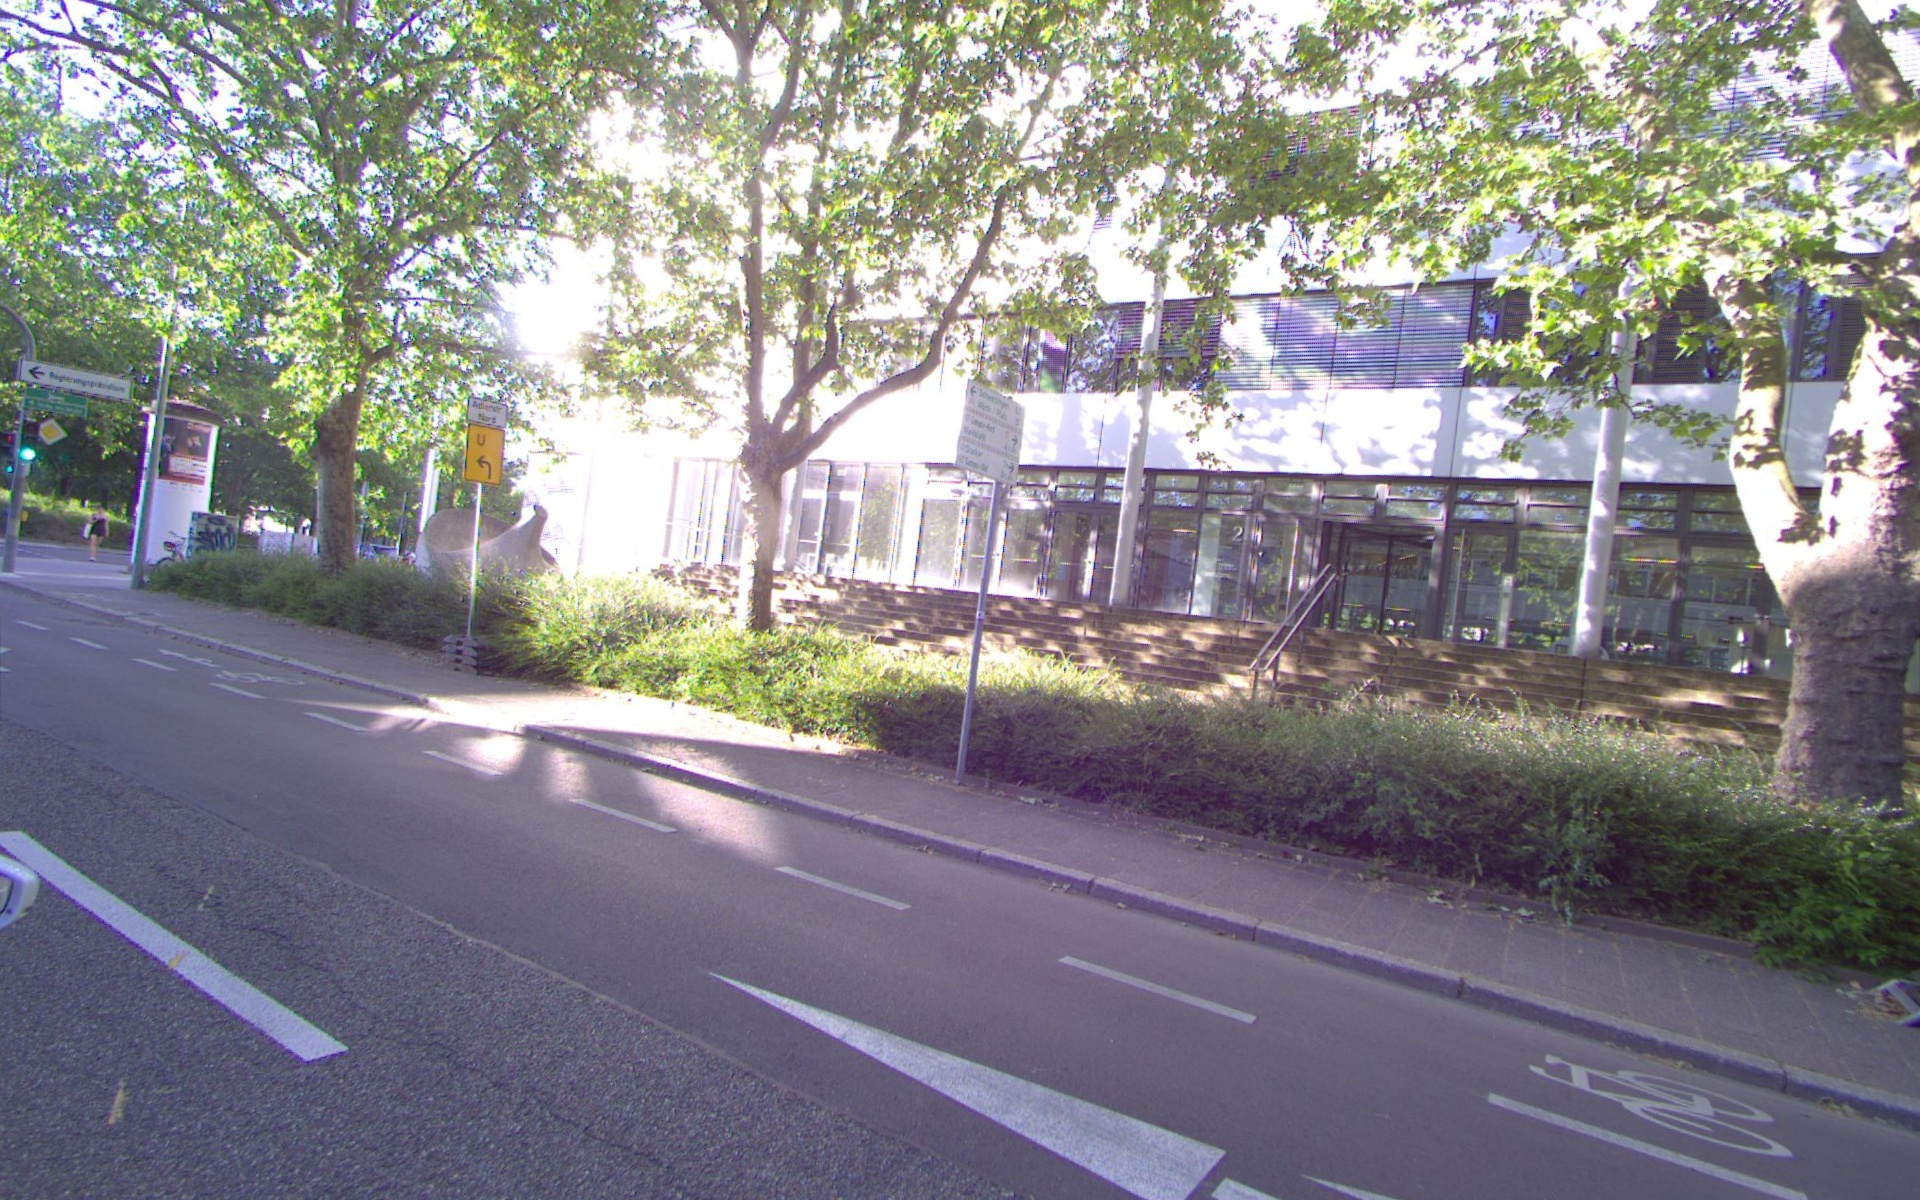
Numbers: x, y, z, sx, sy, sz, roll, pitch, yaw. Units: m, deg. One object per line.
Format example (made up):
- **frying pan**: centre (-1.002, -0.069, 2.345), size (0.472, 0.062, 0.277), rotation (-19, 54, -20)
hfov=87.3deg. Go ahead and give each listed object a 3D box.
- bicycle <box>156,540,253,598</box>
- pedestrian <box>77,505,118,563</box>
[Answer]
- **bicycle**: centre (-15.904, -0.634, 21.241), size (0.631, 1.040, 1.887), rotation (7, -2, -5)
- **pedestrian**: centre (-25.278, -1.937, 29.483), size (0.898, 1.563, 0.635), rotation (6, -1, 42)
